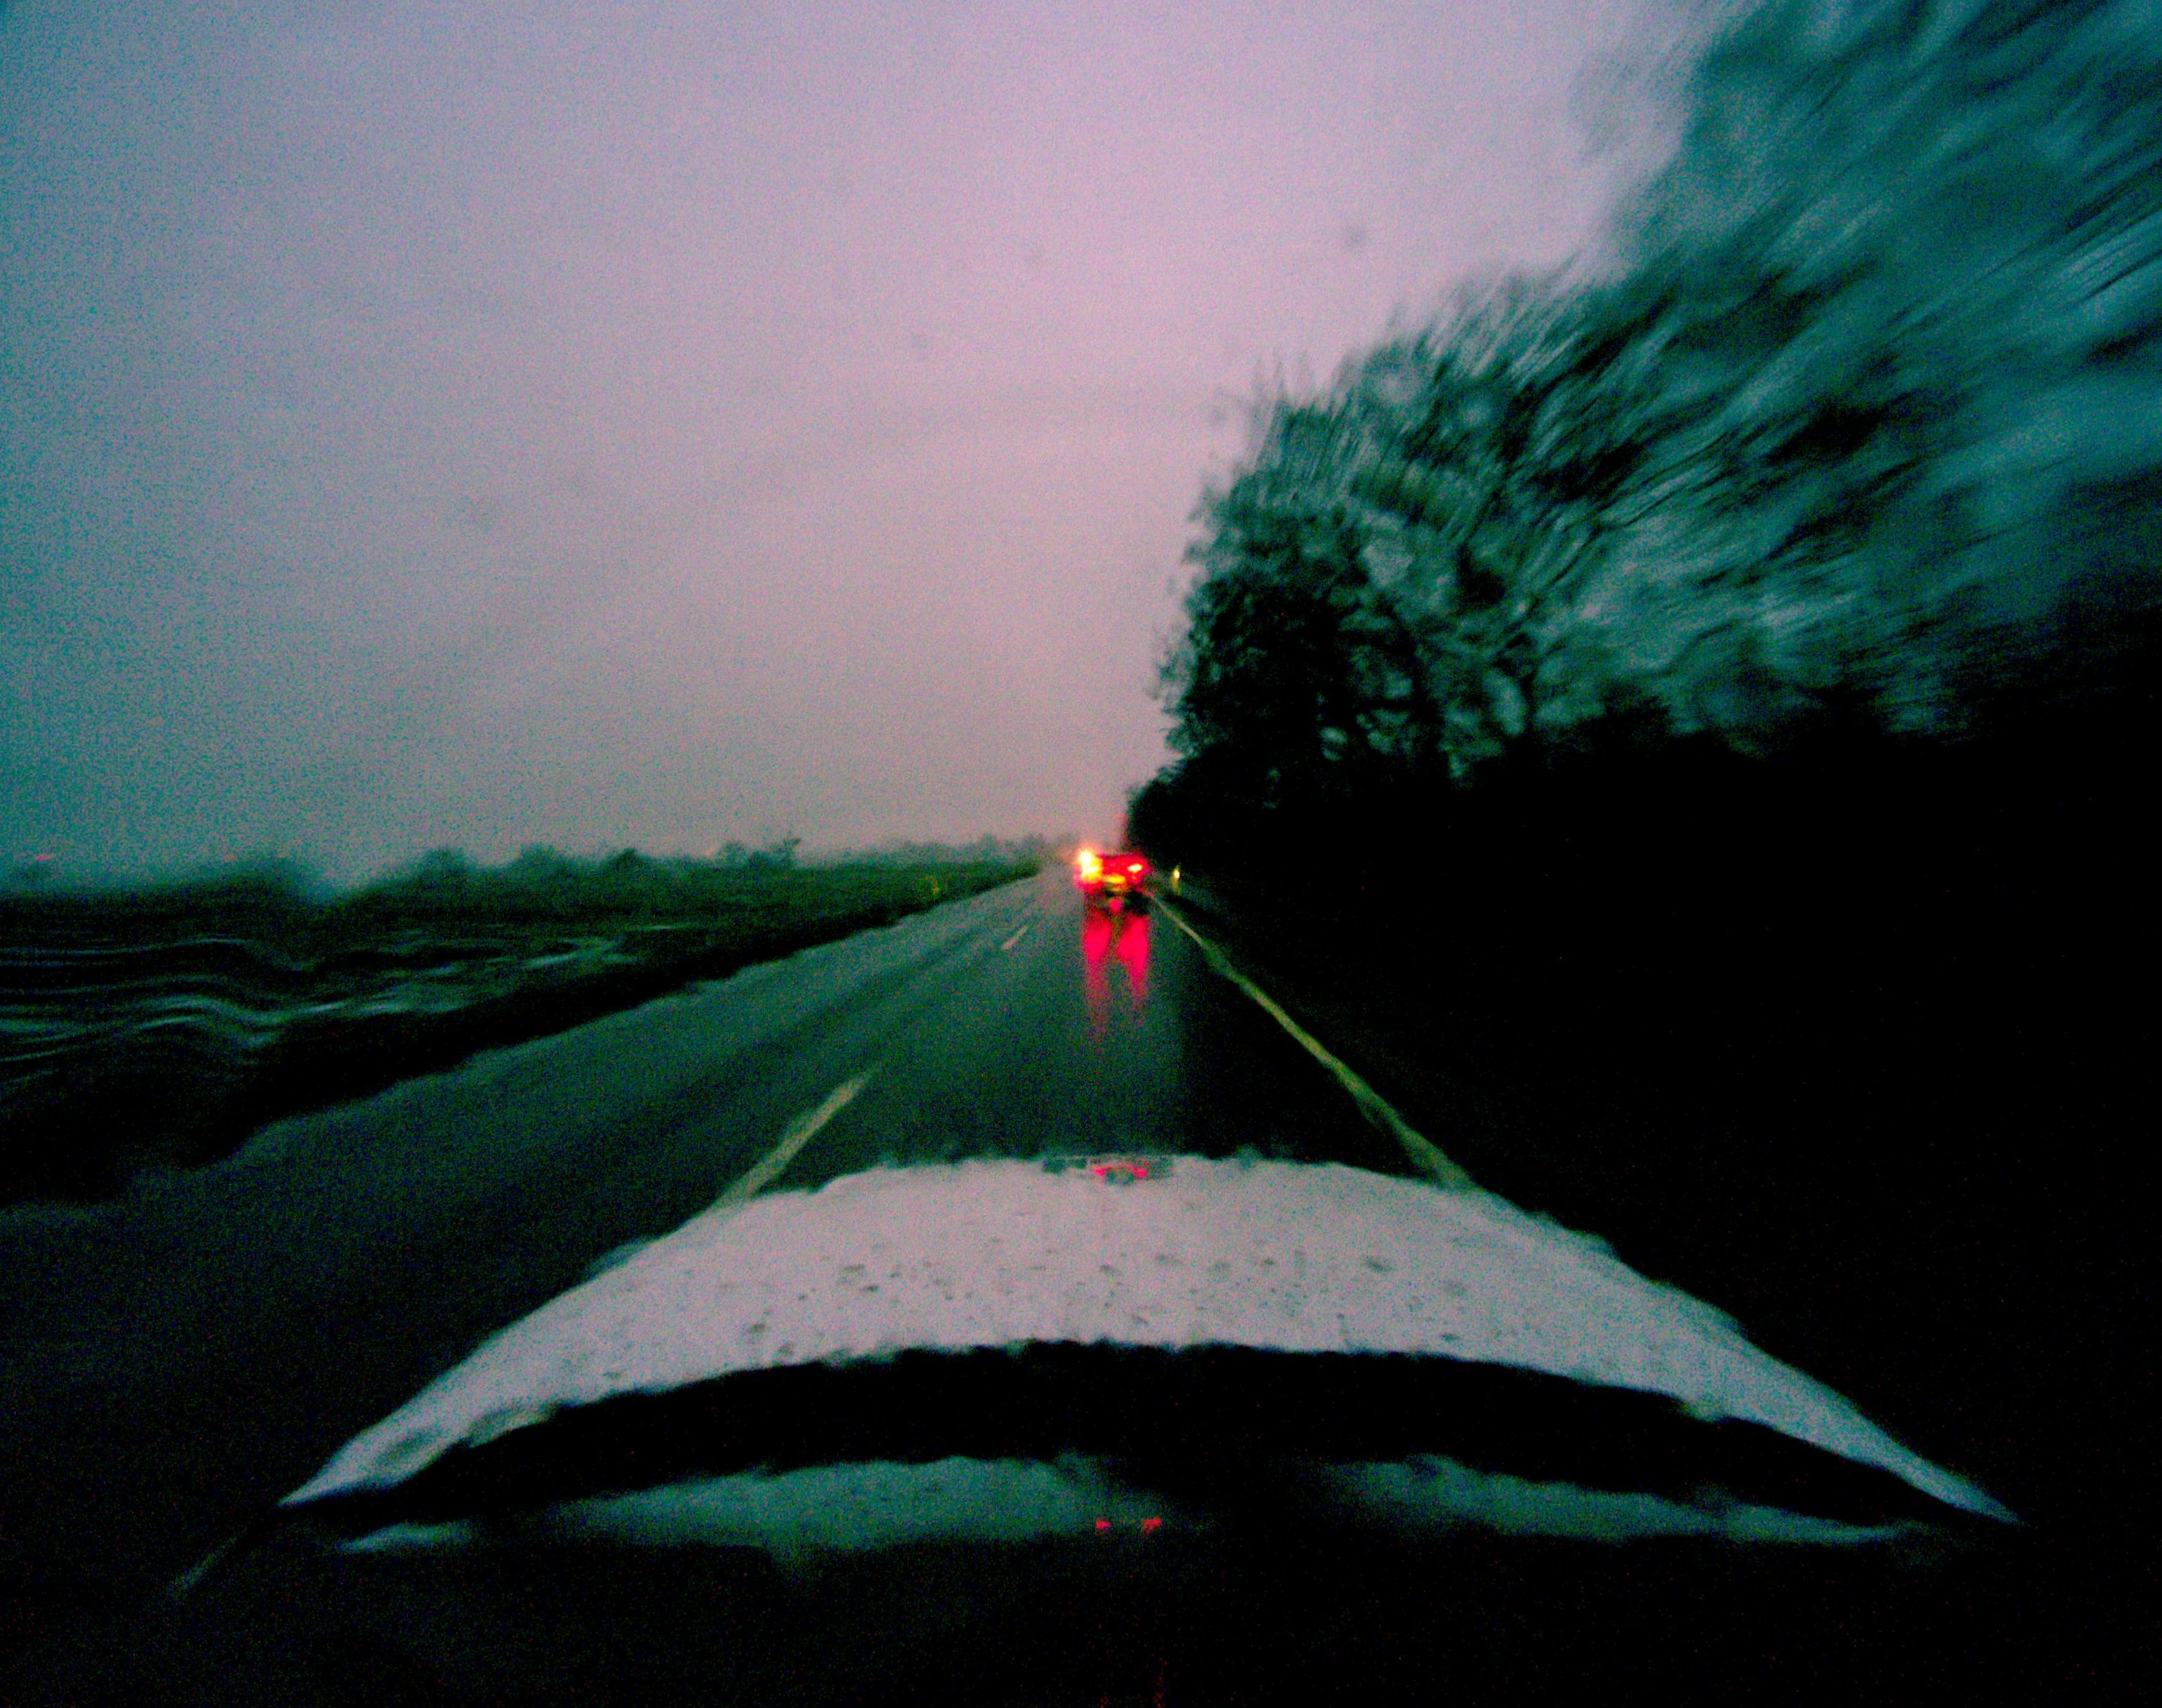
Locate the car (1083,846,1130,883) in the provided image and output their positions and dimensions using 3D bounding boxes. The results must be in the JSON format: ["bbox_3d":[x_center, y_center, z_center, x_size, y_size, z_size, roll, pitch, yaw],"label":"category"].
[{"bbox_3d":[1.521,0.573,47.347,2.582,2.013,5.807,0,0,2],"label":"car"}]

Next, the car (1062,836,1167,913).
[{"bbox_3d":[1.021,0.556,24.771,2.809,2.077,5.807,0,0,2],"label":"car"}]
